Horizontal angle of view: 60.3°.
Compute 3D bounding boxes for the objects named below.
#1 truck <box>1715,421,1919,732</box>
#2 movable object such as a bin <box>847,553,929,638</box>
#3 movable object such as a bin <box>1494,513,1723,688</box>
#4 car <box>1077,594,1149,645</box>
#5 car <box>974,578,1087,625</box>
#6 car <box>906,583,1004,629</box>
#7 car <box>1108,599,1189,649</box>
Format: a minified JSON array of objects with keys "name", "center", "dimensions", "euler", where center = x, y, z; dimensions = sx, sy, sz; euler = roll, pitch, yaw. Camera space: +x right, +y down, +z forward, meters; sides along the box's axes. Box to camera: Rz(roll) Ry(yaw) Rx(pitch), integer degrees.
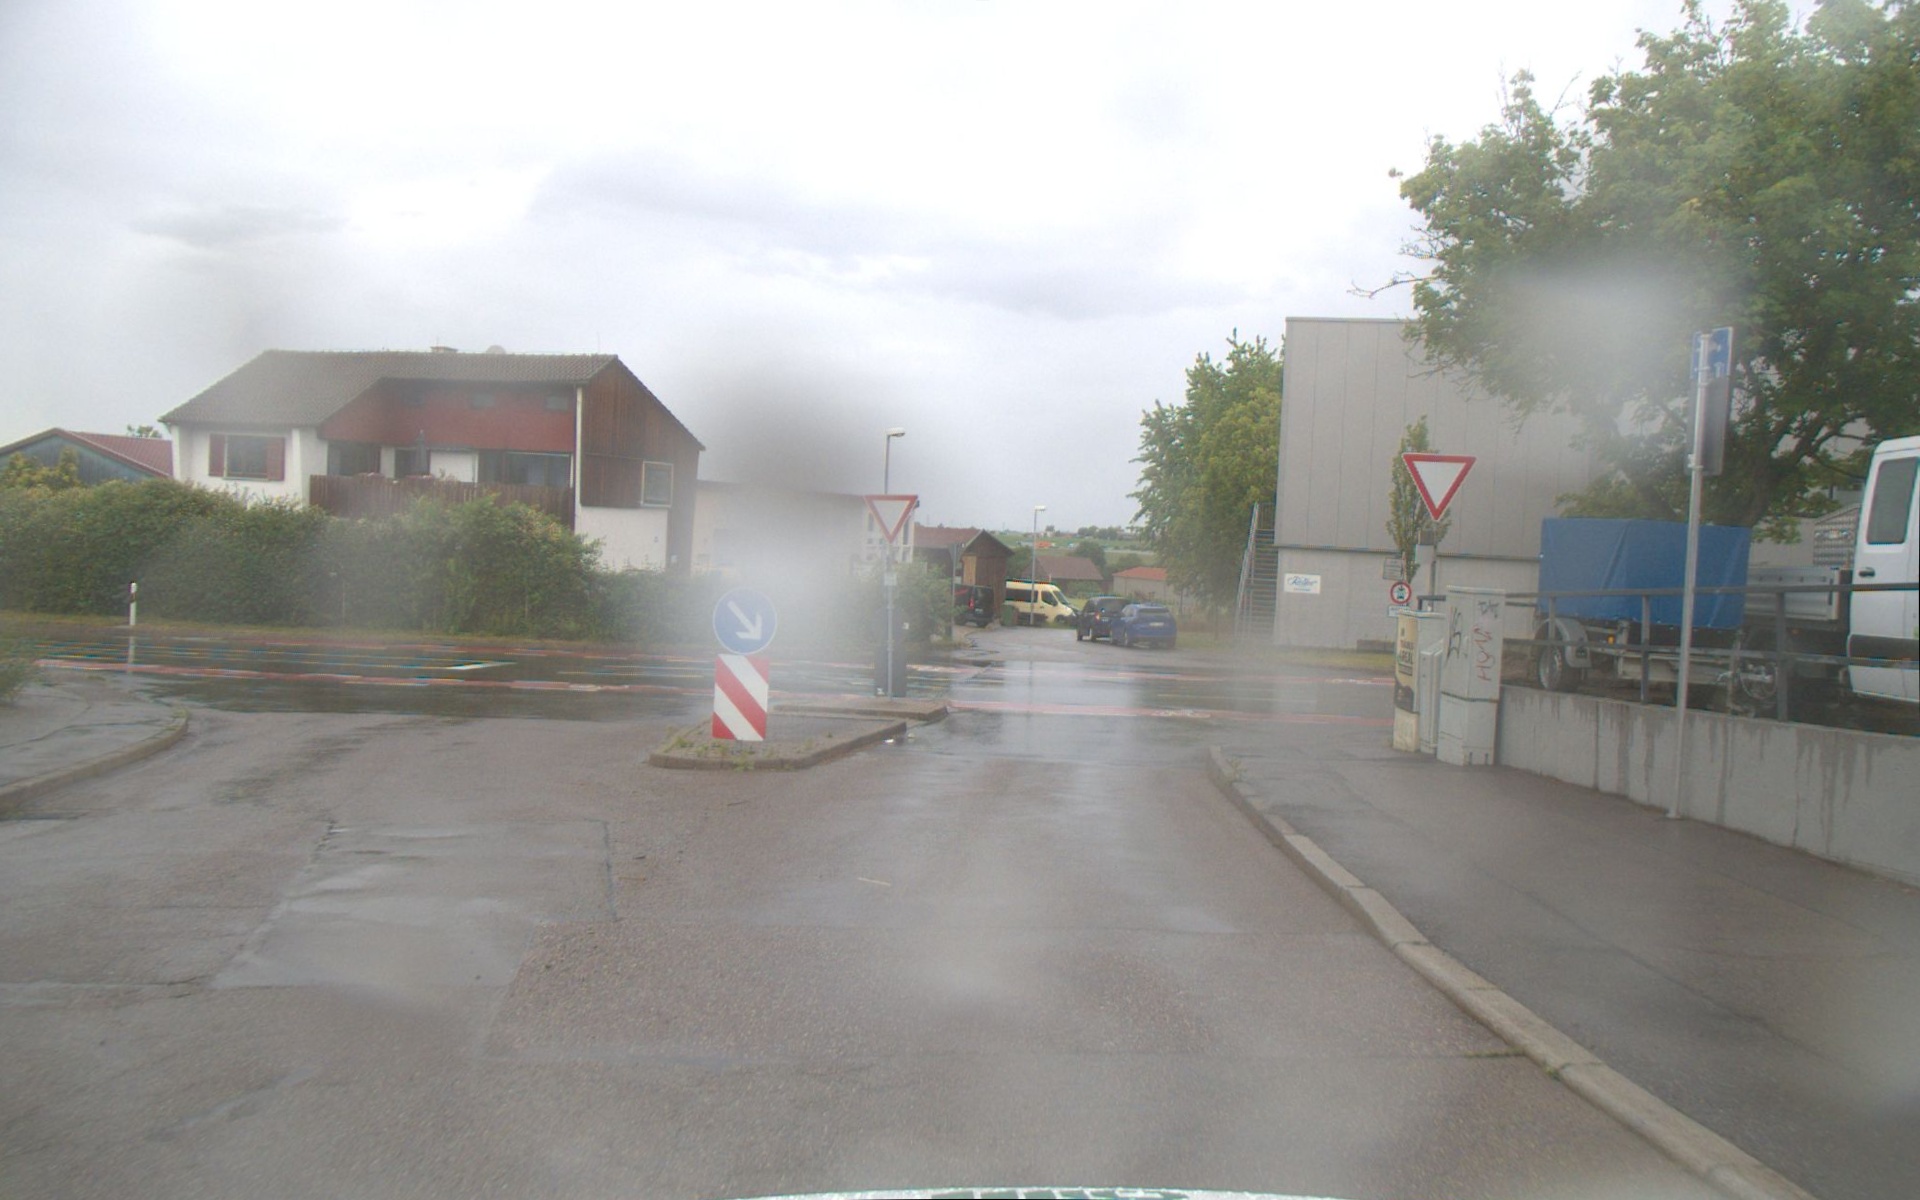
[{"name":"truck","center":[8.004,-0.139,12.558],"dimensions":[2.062,2.253,5.654],"euler":[2,0,2]},{"name":"movable object such as a bin","center":[-2.271,-0.120,53.095],"dimensions":[1.696,2.601,3.342],"euler":[2,0,14]},{"name":"movable object such as a bin","center":[6.123,0.008,15.770],"dimensions":[1.281,1.527,1.856],"euler":[2,0,-7]},{"name":"car","center":[5.969,0.757,64.973],"dimensions":[2.033,1.867,4.466],"euler":[2,0,-5]},{"name":"car","center":[4.002,0.081,93.889],"dimensions":[5.885,2.457,2.463],"euler":[2,0,20]},{"name":"car","center":[-0.261,0.264,76.446],"dimensions":[4.332,1.938,1.988],"euler":[2,0,42]},{"name":"car","center":[6.630,0.833,58.677],"dimensions":[1.914,1.638,4.441],"euler":[2,0,-6]}]
